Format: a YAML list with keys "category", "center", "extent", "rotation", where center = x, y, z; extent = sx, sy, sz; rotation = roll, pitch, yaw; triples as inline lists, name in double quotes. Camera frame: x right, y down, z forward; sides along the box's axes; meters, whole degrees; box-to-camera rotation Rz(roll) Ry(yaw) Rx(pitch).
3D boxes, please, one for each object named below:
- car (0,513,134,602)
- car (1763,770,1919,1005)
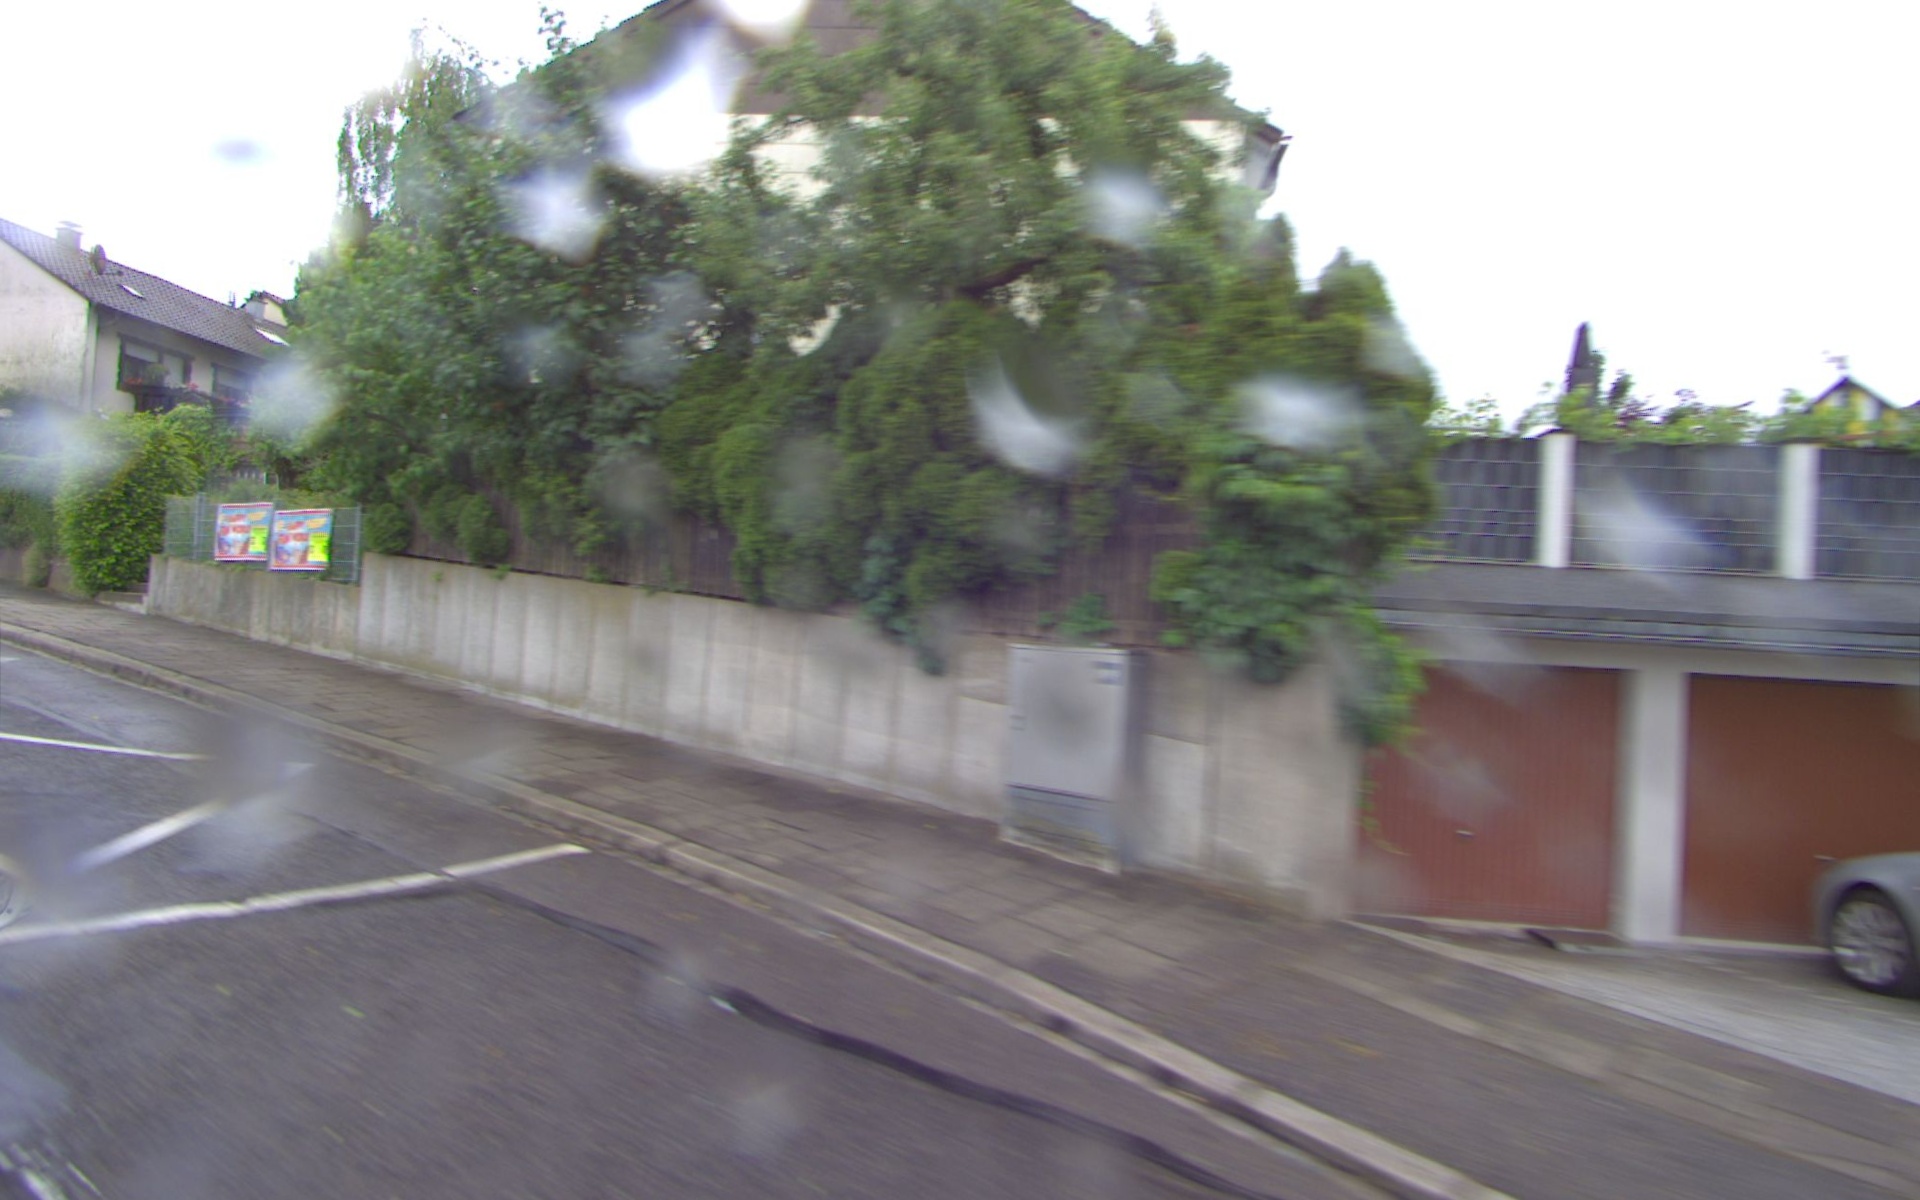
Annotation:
- category: "car"
  center: [-20.518, -1.031, 21.733]
  extent: [1.738, 1.308, 3.728]
  rotation: [5, -10, 11]
- category: "car"
  center: [6.945, 1.773, 5.329]
  extent: [1.756, 1.432, 4.621]
  rotation: [6, -8, 2]
